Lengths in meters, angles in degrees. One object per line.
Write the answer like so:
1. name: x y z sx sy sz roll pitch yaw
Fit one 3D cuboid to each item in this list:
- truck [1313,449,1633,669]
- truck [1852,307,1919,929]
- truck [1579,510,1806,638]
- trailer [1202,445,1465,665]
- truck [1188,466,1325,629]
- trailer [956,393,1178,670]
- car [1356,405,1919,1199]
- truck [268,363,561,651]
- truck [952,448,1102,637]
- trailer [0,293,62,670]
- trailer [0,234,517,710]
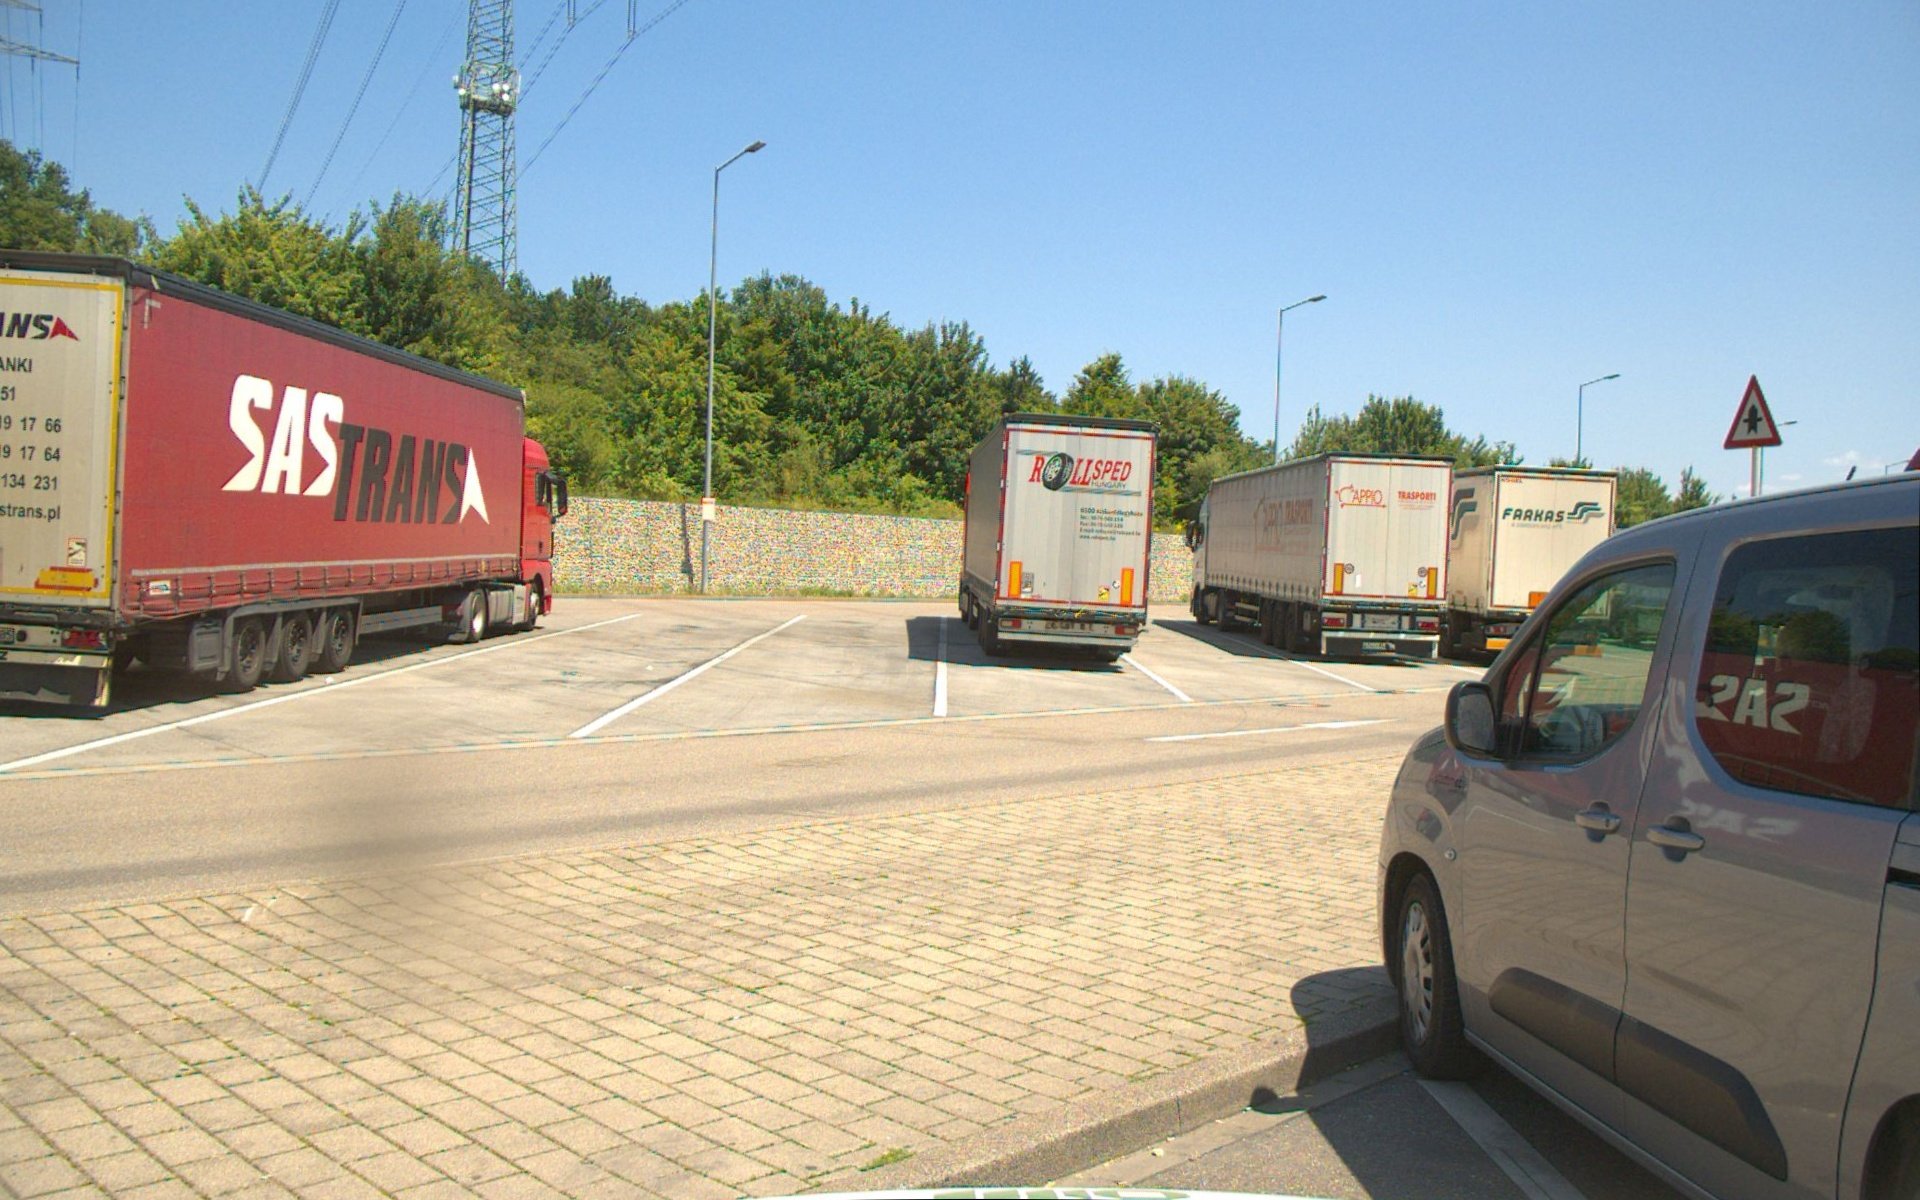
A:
1. truck: 11.703 -0.956 40.009 2.846 4.195 14.525 3 1 -1
2. truck: 4.973 0.127 4.951 1.952 2.669 5.305 1 1 3
3. truck: 21.942 -0.807 50.202 2.963 3.497 8.529 1 1 -1
4. trailer: 8.191 -1.005 38.626 2.818 4.196 13.569 1 1 -1
5. truck: 8.058 -1.410 45.623 2.701 4.196 5.283 1 1 -1
6. trailer: 1.687 -1.315 32.692 3.008 4.301 12.805 2 2 -2
7. car: 2.427 0.555 3.829 1.790 1.784 3.997 1 1 -4
8. truck: -8.785 -1.421 27.550 2.687 4.152 6.828 1 1 -1
9. truck: 1.453 -1.379 39.457 2.965 3.997 6.845 2 2 -2
10. trailer: -12.417 -1.311 15.458 2.689 4.337 9.733 1 1 0
11. trailer: -8.690 -1.260 21.047 2.694 4.128 13.284 1 1 -1
